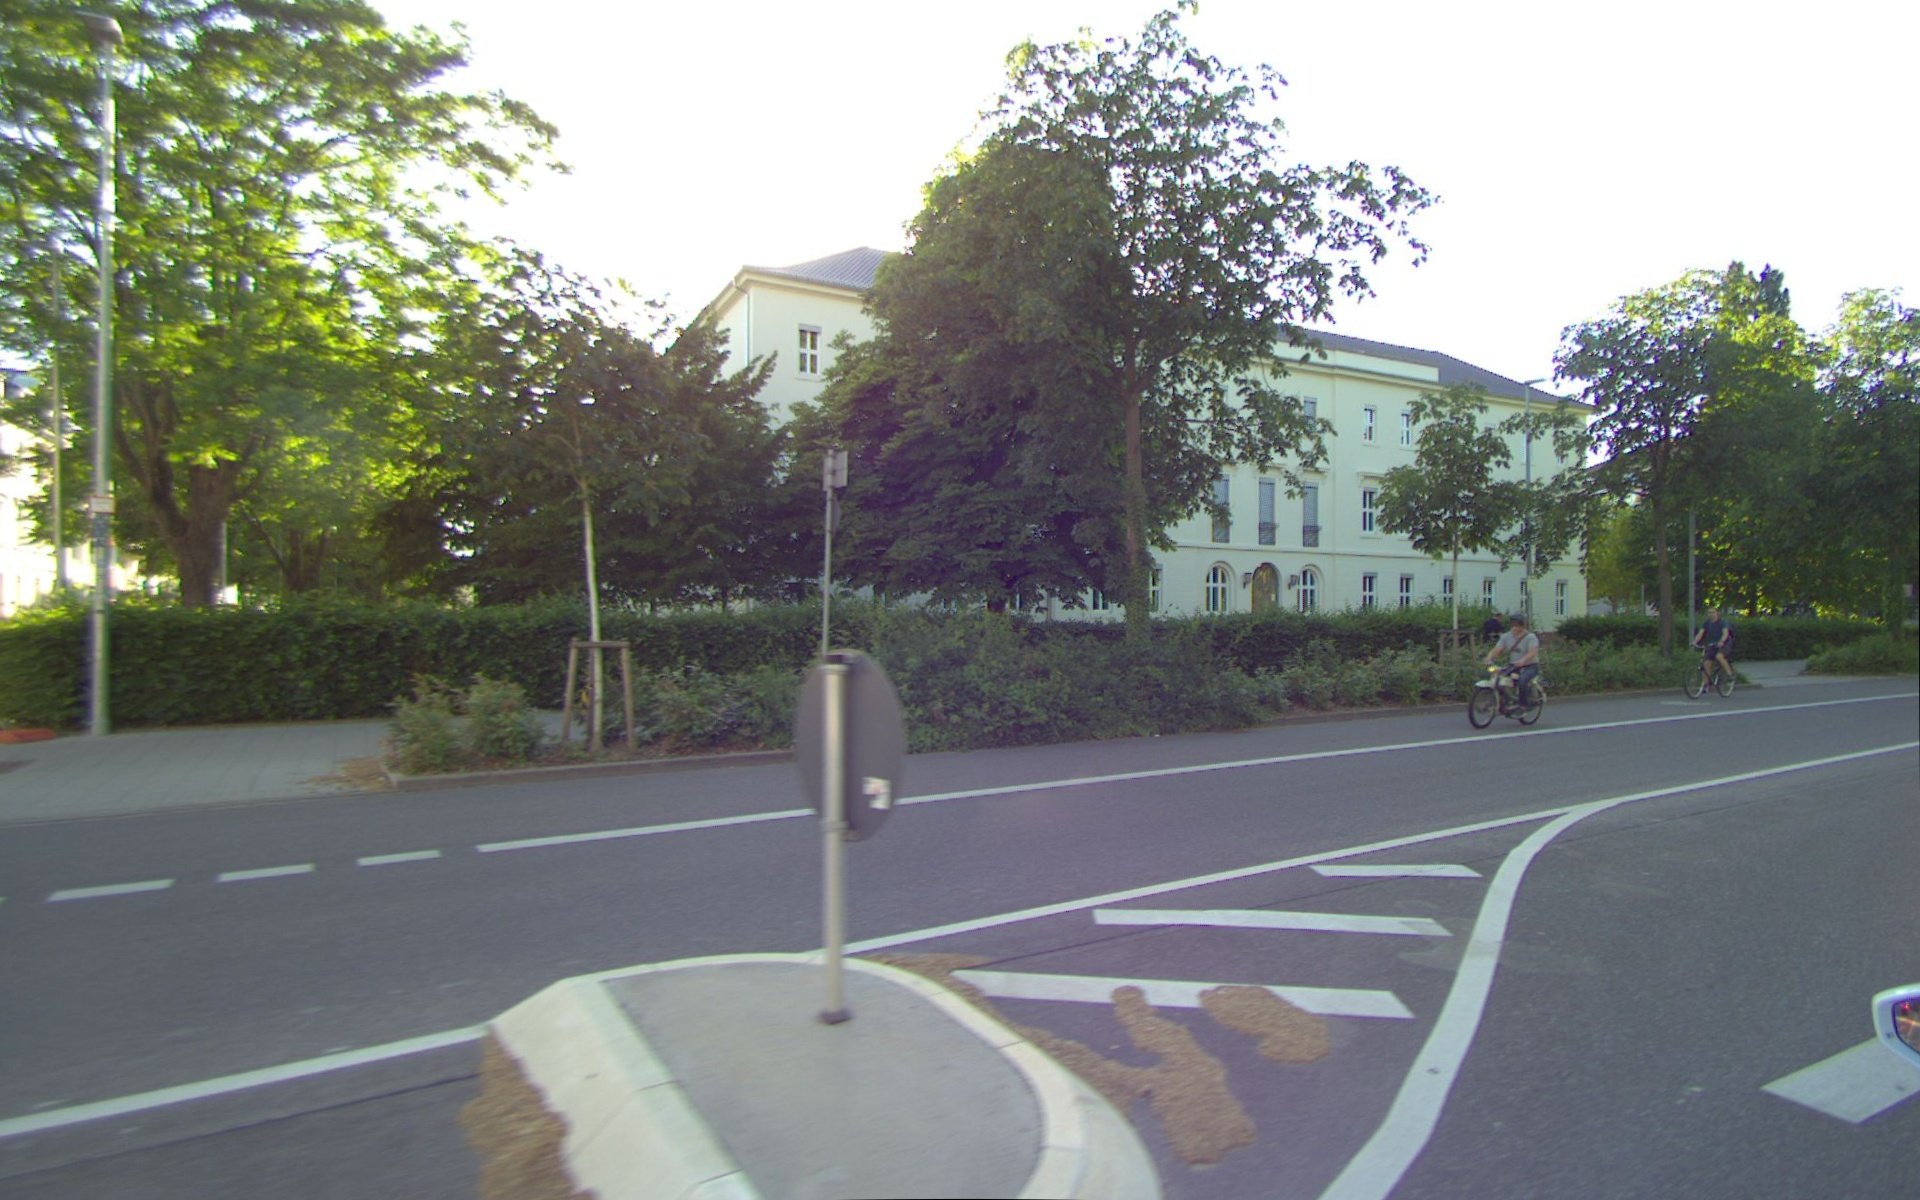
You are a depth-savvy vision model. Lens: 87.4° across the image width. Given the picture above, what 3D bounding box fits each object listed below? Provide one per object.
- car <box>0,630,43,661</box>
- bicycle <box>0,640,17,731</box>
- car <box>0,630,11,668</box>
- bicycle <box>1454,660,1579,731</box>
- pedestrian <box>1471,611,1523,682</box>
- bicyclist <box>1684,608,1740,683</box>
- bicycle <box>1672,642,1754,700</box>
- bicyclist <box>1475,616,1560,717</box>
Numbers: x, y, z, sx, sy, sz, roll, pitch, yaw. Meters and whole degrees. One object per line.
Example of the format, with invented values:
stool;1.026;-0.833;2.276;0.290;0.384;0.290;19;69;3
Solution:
car;-40.262;1.901;42.457;1.460;1.286;3.387;1;-2;-30
bicycle;-13.221;1.165;13.252;0.553;1.246;2.310;0;-2;-28
car;-37.183;1.852;37.373;1.790;1.439;3.968;1;-2;-30
bicycle;8.226;1.378;14.807;2.154;0.933;0.613;1;-2;-31
pedestrian;14.567;1.253;27.253;0.989;1.876;0.852;1;-2;-30
bicyclist;15.773;0.950;21.071;0.716;1.542;0.626;0;-4;-31
bicycle;15.772;1.476;21.029;2.003;1.135;0.594;1;-5;-31
bicyclist;8.231;0.977;14.833;0.959;1.437;0.643;0;-4;-31
